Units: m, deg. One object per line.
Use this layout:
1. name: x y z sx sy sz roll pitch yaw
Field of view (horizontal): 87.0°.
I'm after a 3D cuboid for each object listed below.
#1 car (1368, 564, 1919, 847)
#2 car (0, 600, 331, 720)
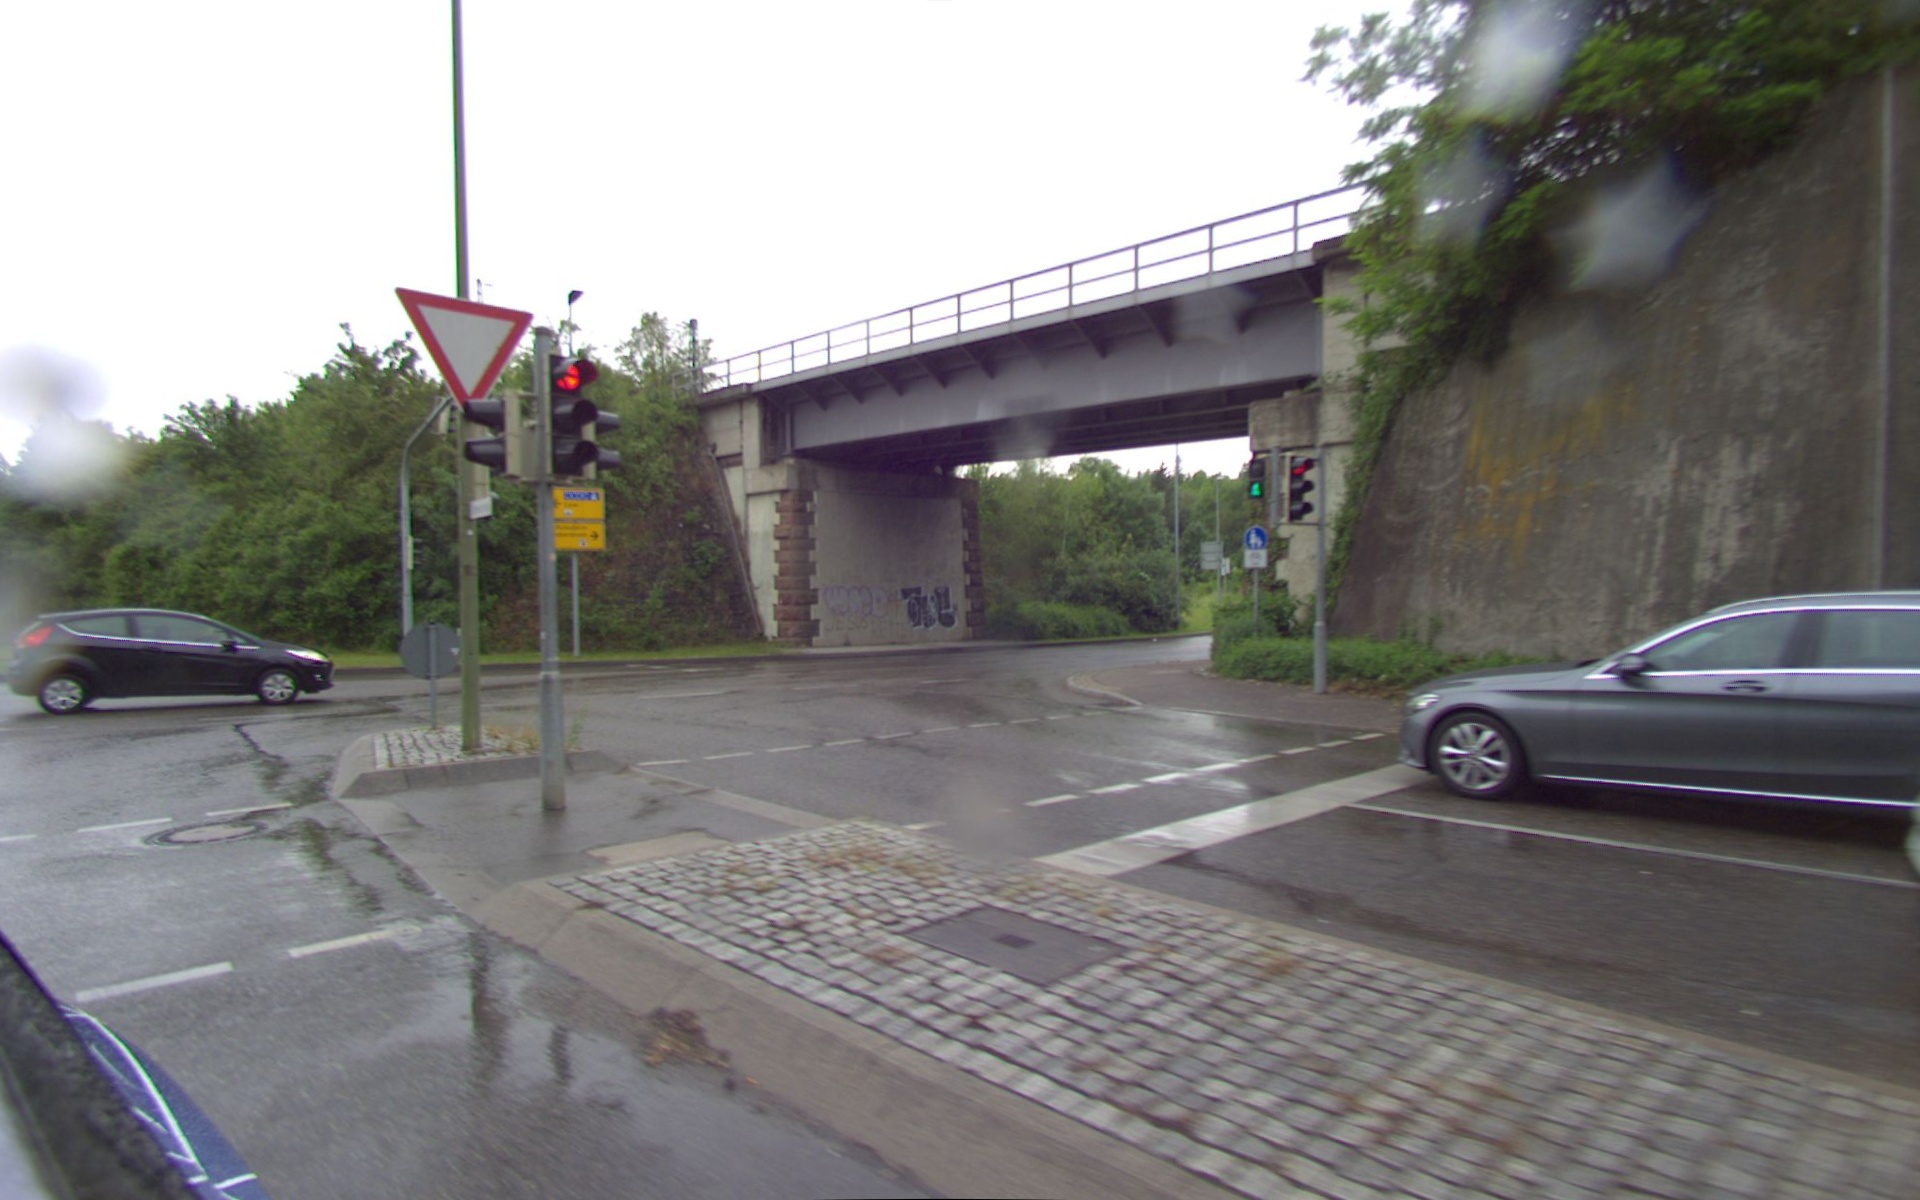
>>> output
1. car: 5.421 0.598 6.631 1.969 1.514 4.736 2 -2 -40
2. car: -11.688 0.810 15.092 3.824 1.582 1.687 0 -1 -35
